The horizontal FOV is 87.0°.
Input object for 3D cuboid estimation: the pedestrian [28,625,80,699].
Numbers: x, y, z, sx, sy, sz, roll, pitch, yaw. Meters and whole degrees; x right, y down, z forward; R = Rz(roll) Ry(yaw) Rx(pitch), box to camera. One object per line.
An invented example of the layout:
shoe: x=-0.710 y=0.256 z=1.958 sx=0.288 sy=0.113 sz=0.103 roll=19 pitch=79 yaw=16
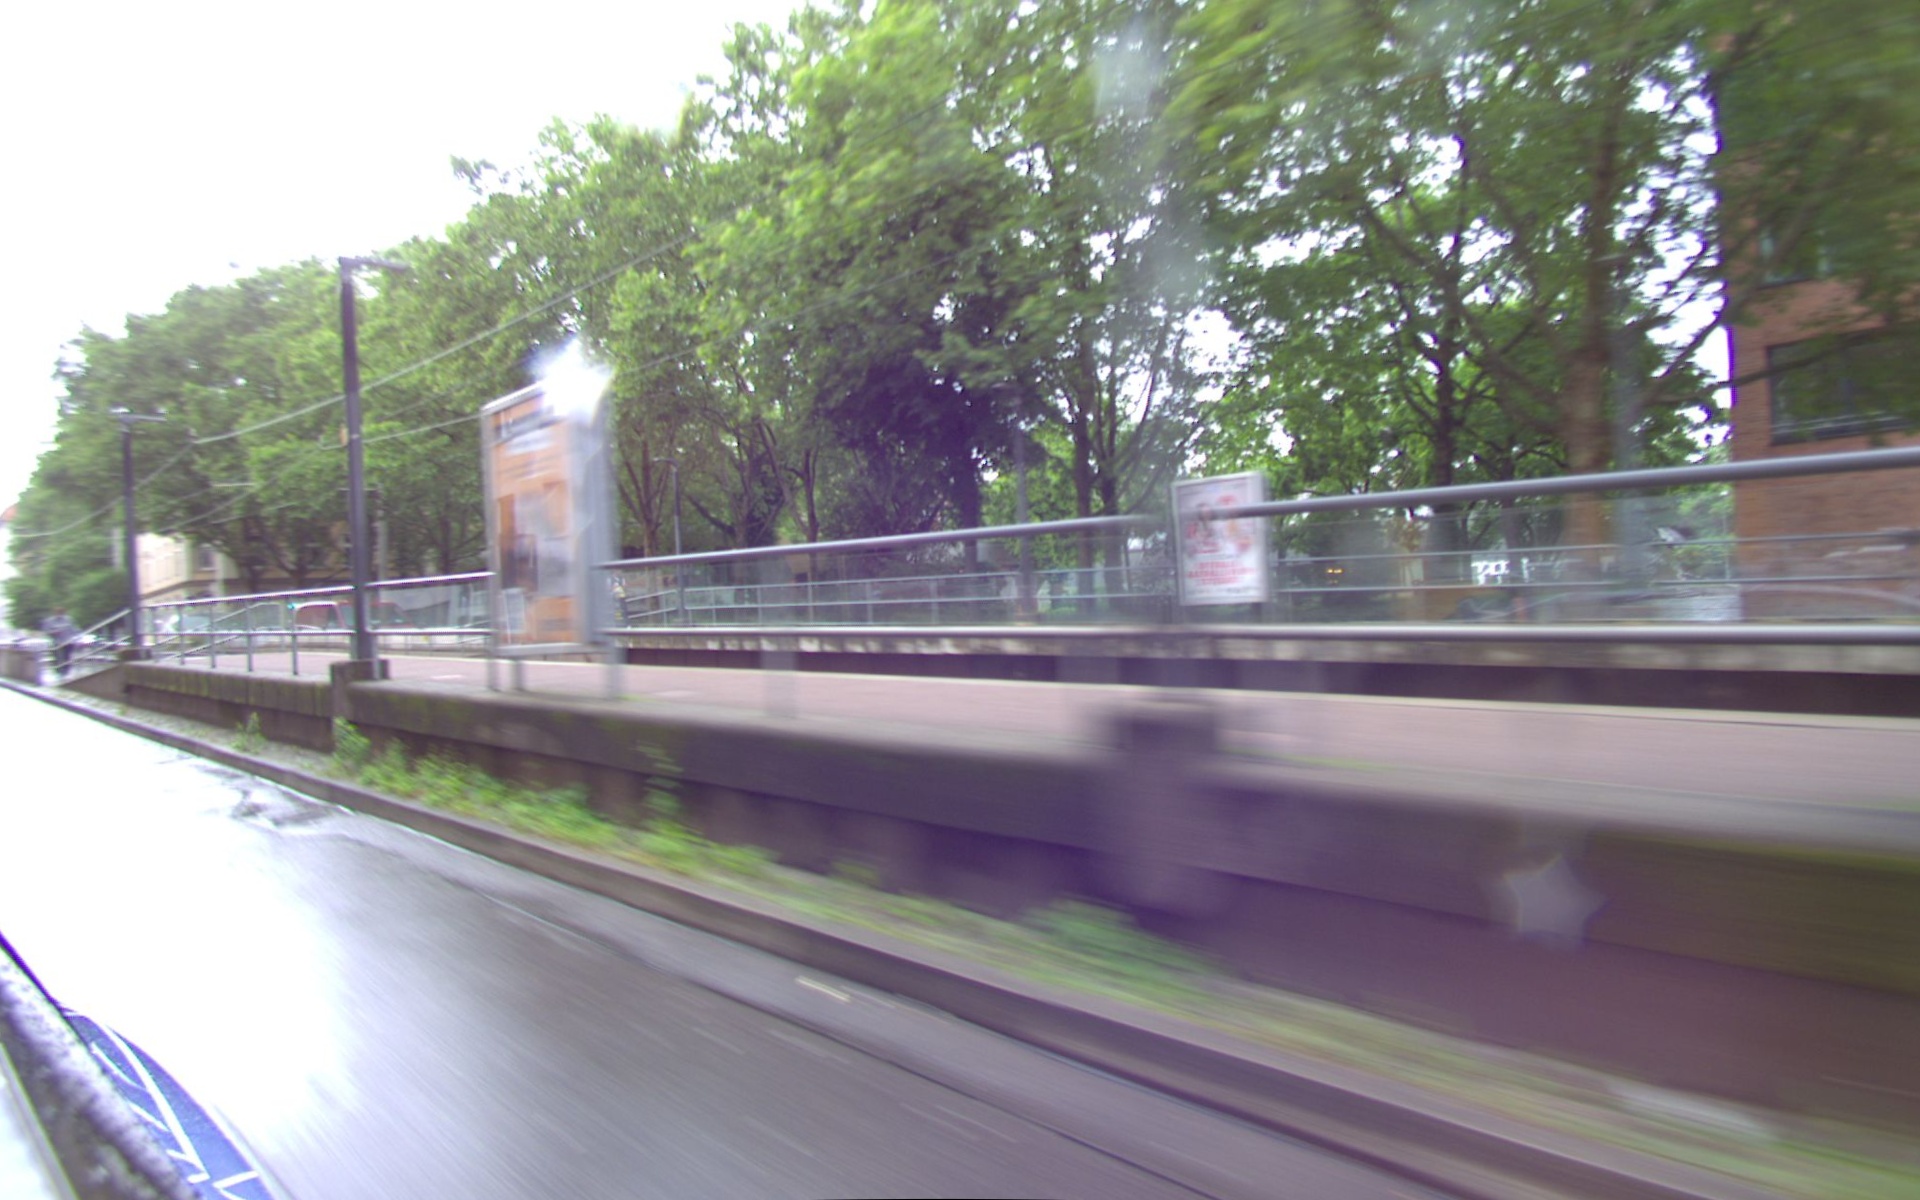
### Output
pedestrian: x=-23.208 y=1.575 z=25.924 sx=0.787 sy=1.813 sz=0.850 roll=-3 pitch=-1 yaw=41

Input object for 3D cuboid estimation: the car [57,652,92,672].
car: x=-70.485 y=4.925 z=80.543 sx=3.514 sy=1.411 sz=1.625 roll=-4 pitch=-2 yaw=41

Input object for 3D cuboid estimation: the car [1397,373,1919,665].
car: x=4.657 y=-0.379 z=5.938 sx=3.464 sy=1.401 sz=1.673 roll=-3 pitch=-1 yaw=43

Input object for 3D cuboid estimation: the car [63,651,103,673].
car: x=-67.202 y=4.763 z=77.525 sx=3.806 sy=1.488 sz=1.867 roll=-3 pitch=0 yaw=43

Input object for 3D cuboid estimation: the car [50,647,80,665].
car: x=-77.761 y=4.868 z=87.916 sx=3.279 sy=1.411 sz=1.465 roll=-4 pitch=-2 yaw=40

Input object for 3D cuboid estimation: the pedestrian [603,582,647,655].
pedestrian: x=-8.053 y=0.433 z=24.320 sx=0.687 sy=1.676 sz=0.651 roll=-8 pitch=-4 yaw=41

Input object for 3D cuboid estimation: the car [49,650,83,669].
car: x=-73.751 y=4.909 z=83.485 sx=3.514 sy=1.411 sz=1.625 roll=-4 pitch=-2 yaw=41
